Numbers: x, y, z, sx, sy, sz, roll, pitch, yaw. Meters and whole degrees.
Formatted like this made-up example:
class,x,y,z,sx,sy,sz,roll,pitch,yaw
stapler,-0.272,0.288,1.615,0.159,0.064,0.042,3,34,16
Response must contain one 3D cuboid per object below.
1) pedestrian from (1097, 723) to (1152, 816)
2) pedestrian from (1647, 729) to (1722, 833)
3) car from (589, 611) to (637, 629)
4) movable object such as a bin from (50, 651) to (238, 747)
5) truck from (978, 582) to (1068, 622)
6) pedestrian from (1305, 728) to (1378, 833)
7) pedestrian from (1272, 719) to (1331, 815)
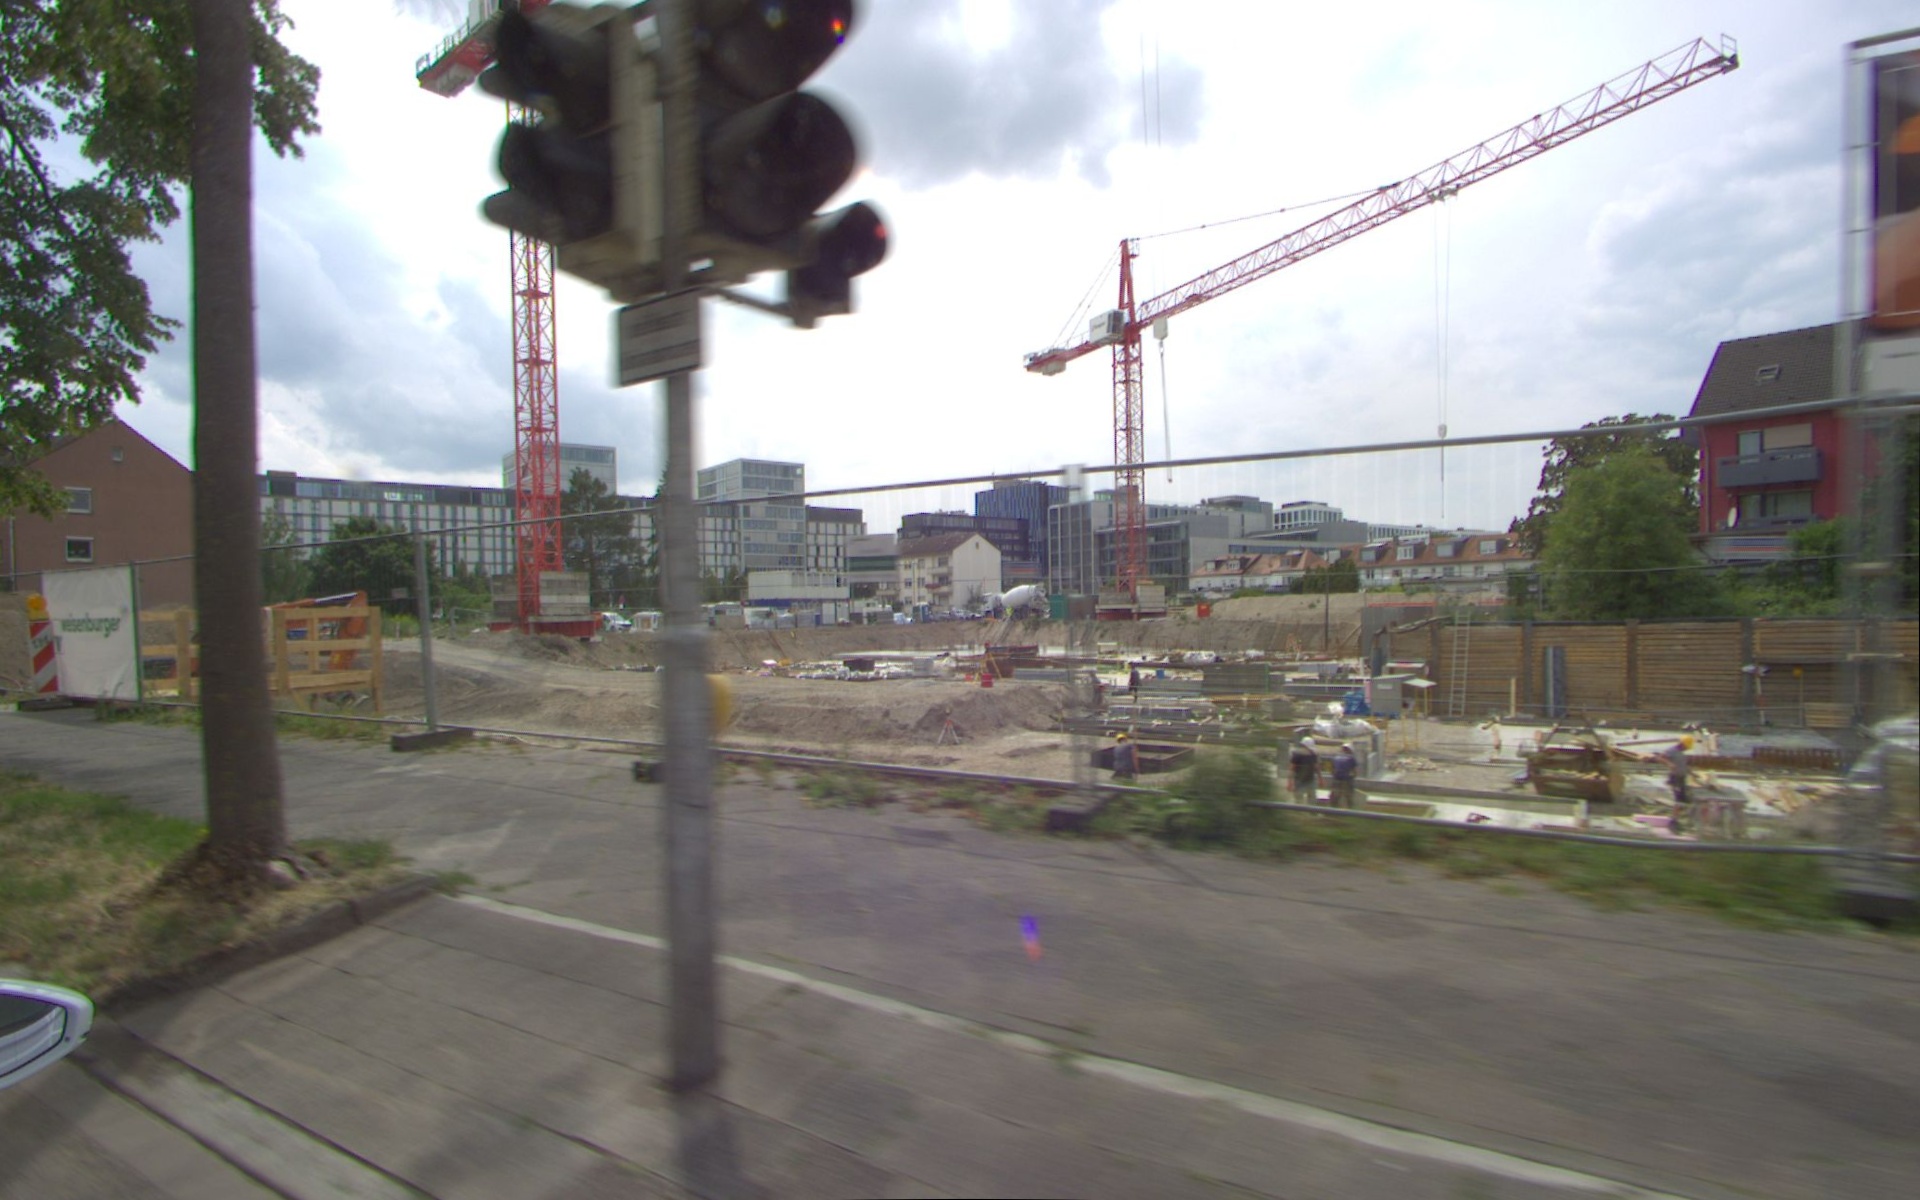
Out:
class,x,y,z,sx,sy,sz,roll,pitch,yaw
pedestrian,3.440,3.521,20.909,0.836,1.745,0.714,-3,2,-42
pedestrian,13.192,3.290,18.255,0.828,1.745,0.720,-2,1,2
car,-30.752,1.725,88.634,4.143,1.435,1.715,1,1,29
movable object such as a bin,-27.702,3.237,34.036,4.649,2.624,3.103,-3,1,-44
truck,6.888,0.302,111.288,10.160,4.188,3.320,-1,1,44
pedestrian,7.163,3.364,18.824,0.829,1.745,0.982,-2,1,-16
pedestrian,6.858,3.337,20.144,0.708,1.745,0.842,-3,2,-23
